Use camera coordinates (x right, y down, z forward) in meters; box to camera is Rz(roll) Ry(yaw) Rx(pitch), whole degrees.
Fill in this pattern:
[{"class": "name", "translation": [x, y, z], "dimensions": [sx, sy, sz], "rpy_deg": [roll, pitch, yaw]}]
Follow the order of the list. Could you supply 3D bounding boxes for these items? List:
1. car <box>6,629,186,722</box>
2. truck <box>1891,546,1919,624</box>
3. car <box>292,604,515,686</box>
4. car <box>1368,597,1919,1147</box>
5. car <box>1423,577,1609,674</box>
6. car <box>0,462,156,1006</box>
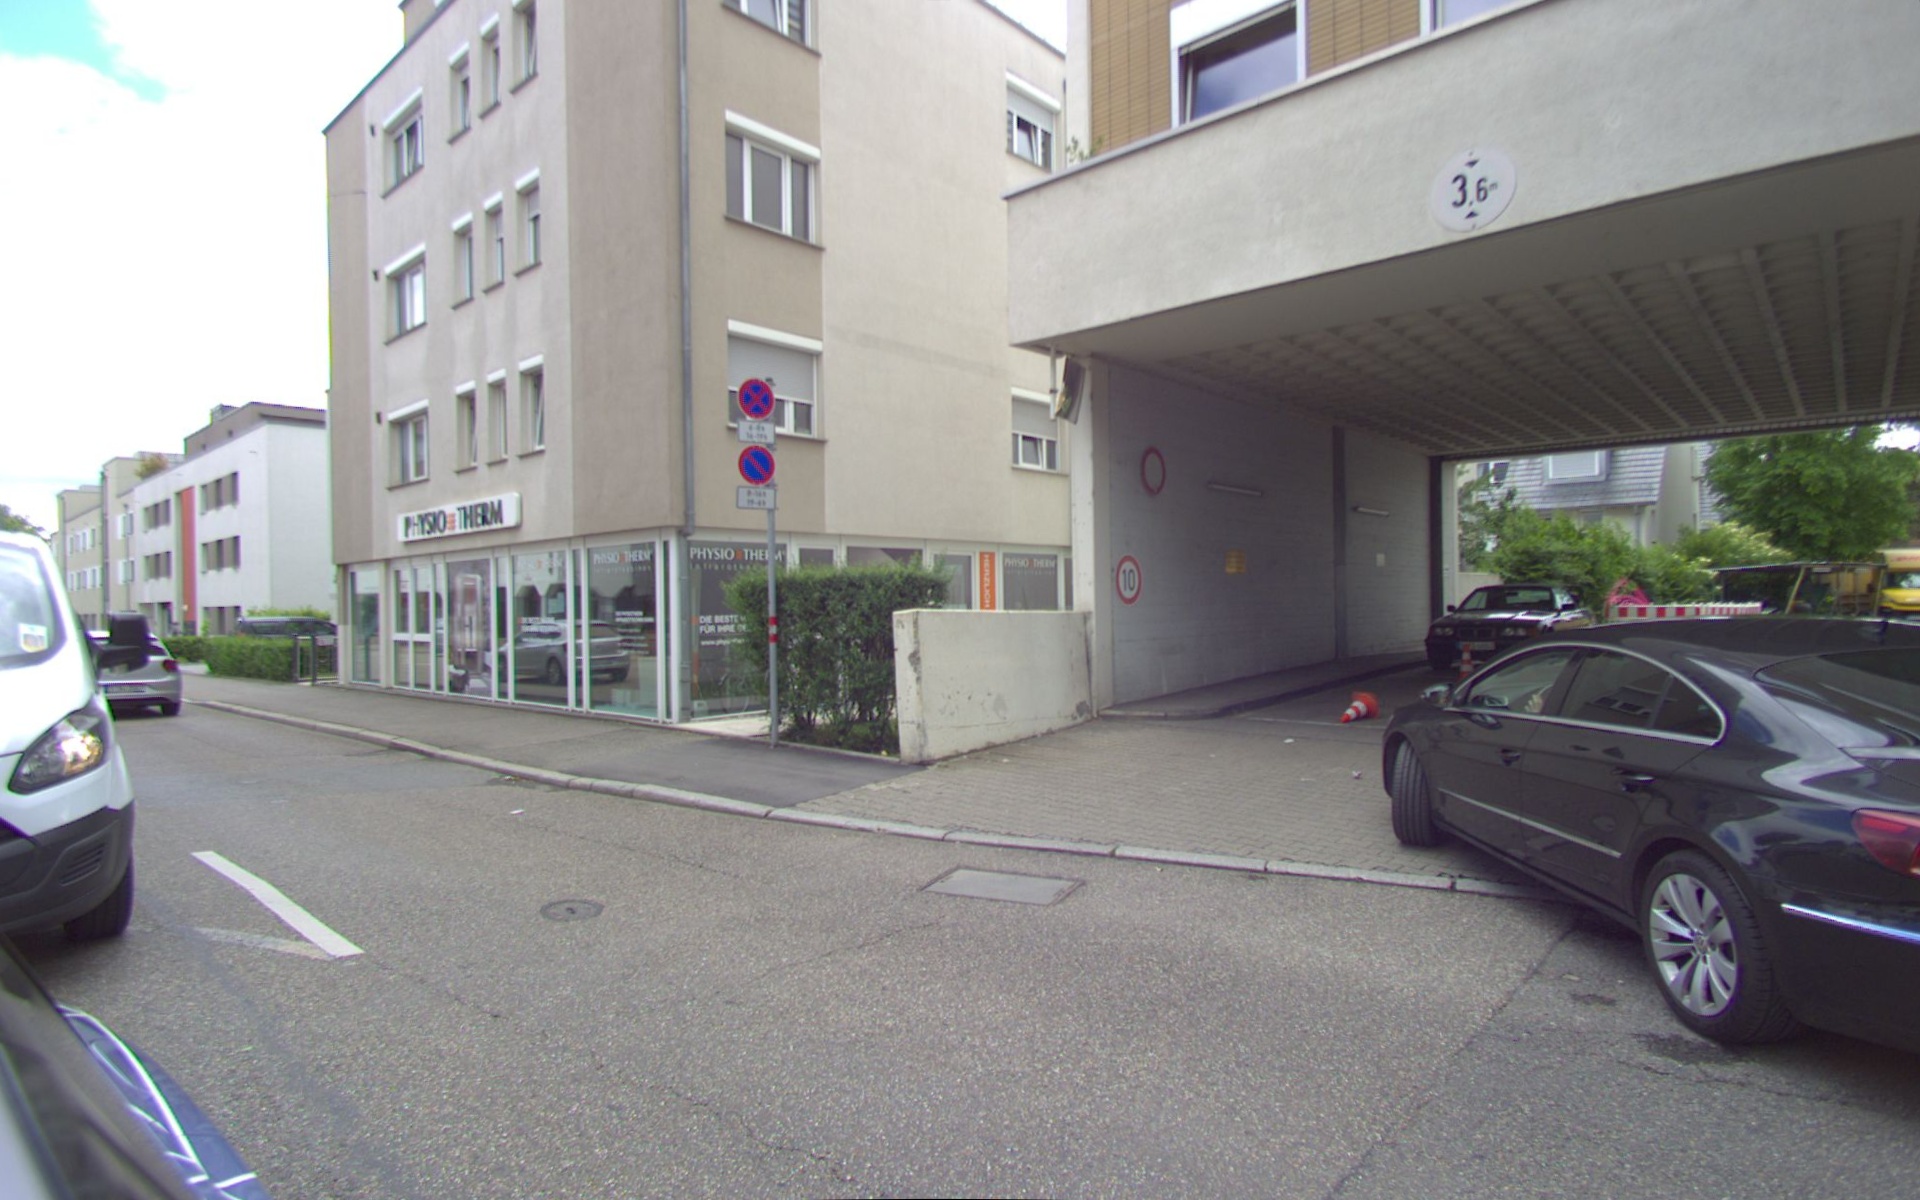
[{"class": "car", "translation": [-15.103, 1.234, 17.630], "dimensions": [3.998, 1.428, 1.780], "rpy_deg": [-2, -3, 41]}, {"class": "truck", "translation": [36.766, -0.637, 38.012], "dimensions": [7.185, 2.772, 2.002], "rpy_deg": [-2, 0, -43]}, {"class": "car", "translation": [-15.108, 1.160, 27.697], "dimensions": [1.967, 2.013, 5.013], "rpy_deg": [-2, -1, 44]}, {"class": "car", "translation": [3.403, 0.706, 4.411], "dimensions": [1.636, 1.409, 4.449], "rpy_deg": [-1, 0, 3]}, {"class": "car", "translation": [8.983, 0.341, 16.175], "dimensions": [1.624, 1.333, 4.391], "rpy_deg": [-1, 0, 42]}, {"class": "car", "translation": [-5.812, 0.553, 5.034], "dimensions": [5.084, 2.013, 1.939], "rpy_deg": [-2, -1, 41]}]
